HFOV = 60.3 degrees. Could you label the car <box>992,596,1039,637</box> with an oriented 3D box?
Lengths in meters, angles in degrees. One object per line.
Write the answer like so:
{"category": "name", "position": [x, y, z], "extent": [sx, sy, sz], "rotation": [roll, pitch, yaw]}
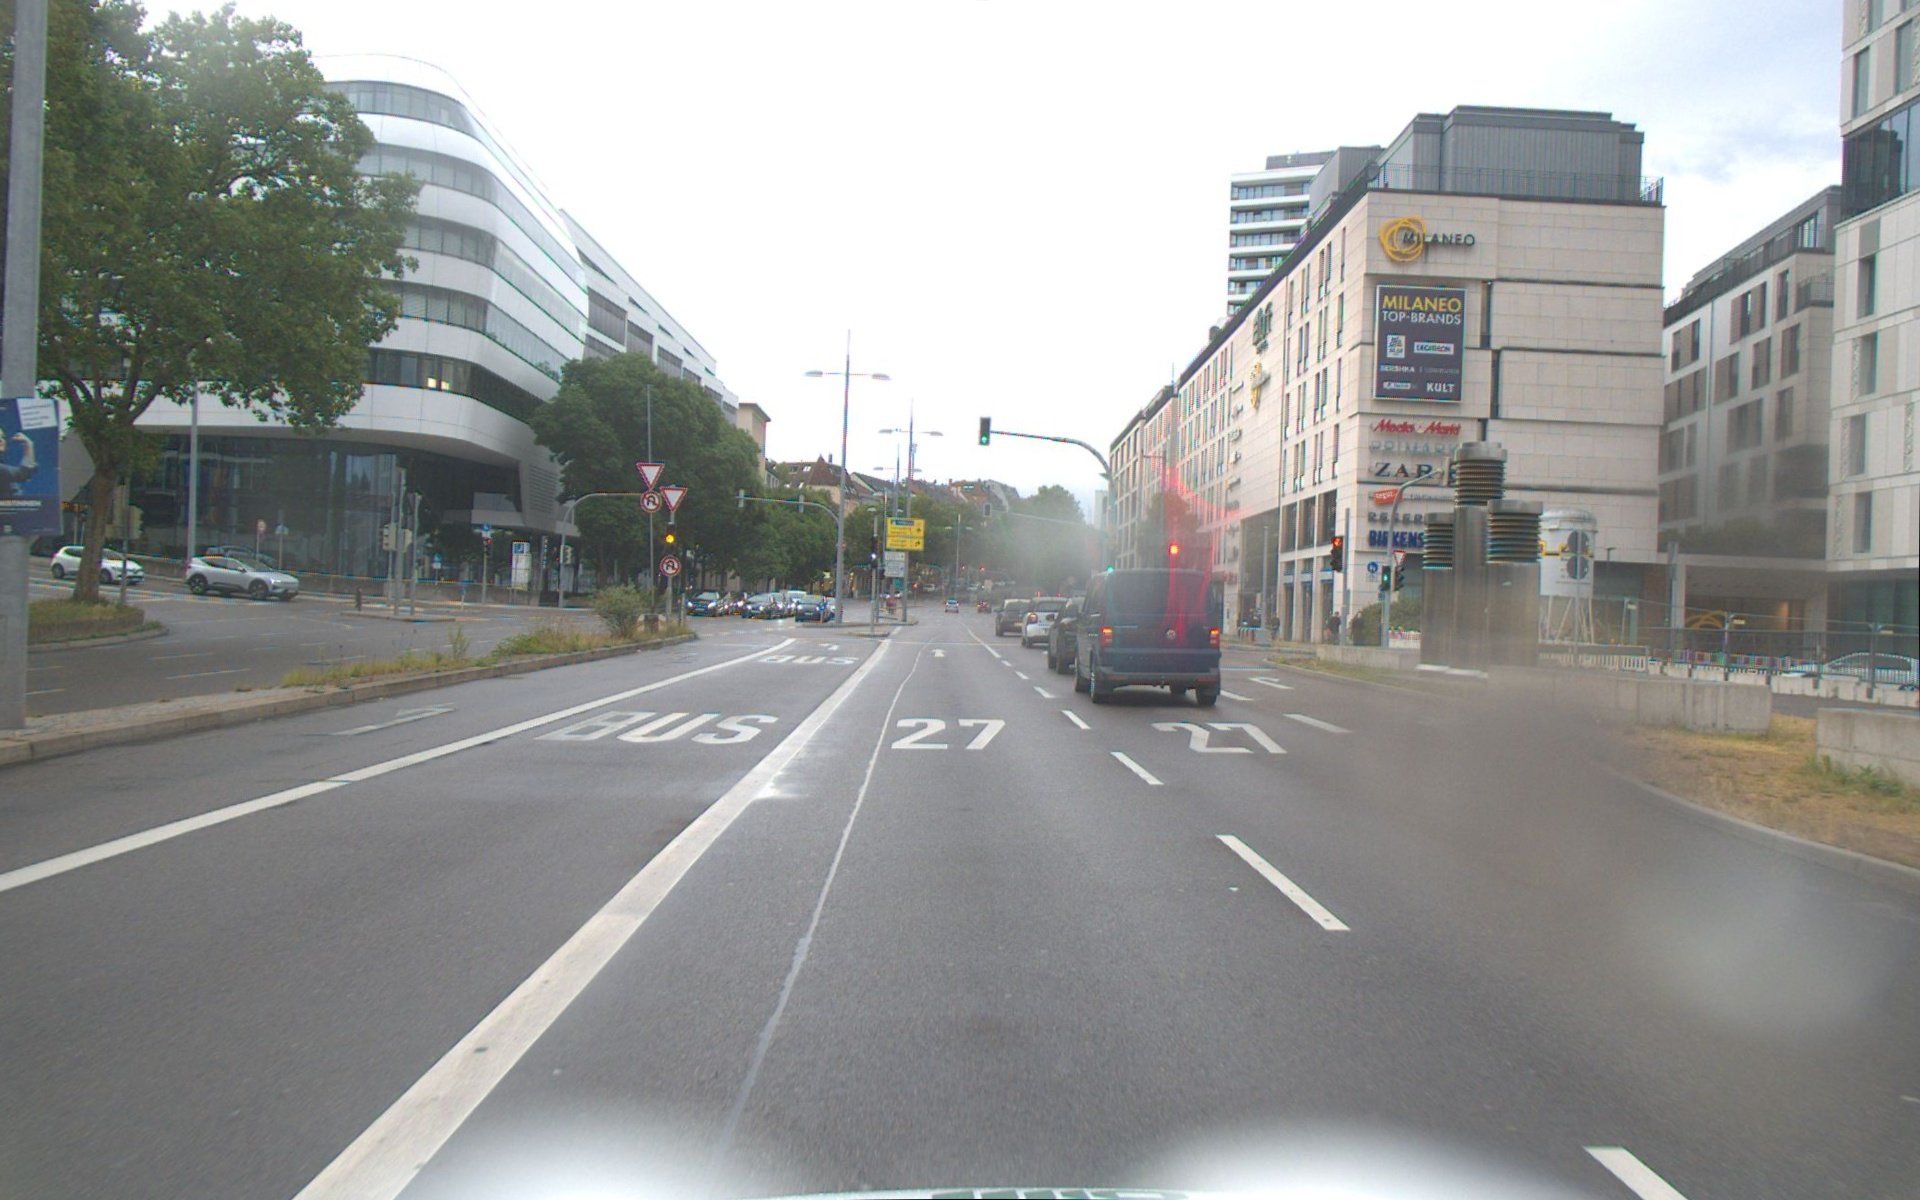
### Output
{"category": "car", "position": [2.218, 0.678, 66.570], "extent": [1.704, 1.558, 3.813], "rotation": [1, -1, 0]}

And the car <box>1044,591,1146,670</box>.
{"category": "car", "position": [2.796, 0.592, 35.104], "extent": [1.754, 1.533, 4.338], "rotation": [1, 0, -1]}

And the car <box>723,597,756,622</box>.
{"category": "car", "position": [-14.637, 0.669, 110.024], "extent": [1.707, 1.586, 3.539], "rotation": [1, -1, 0]}

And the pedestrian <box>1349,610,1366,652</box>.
{"category": "pedestrian", "position": [17.421, 1.353, 72.450], "extent": [0.434, 1.811, 0.590], "rotation": [2, -1, -29]}

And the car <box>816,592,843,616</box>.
{"category": "car", "position": [-8.656, 0.275, 110.116], "extent": [1.507, 1.503, 3.695], "rotation": [1, -1, 0]}

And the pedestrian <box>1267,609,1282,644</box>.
{"category": "pedestrian", "position": [14.834, 1.241, 77.923], "extent": [0.539, 1.639, 0.698], "rotation": [1, -1, 0]}

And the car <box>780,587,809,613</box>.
{"category": "car", "position": [-11.800, 0.005, 118.234], "extent": [1.707, 1.779, 3.539], "rotation": [1, -1, 0]}

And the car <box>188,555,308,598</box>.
{"category": "car", "position": [-29.893, -0.982, 69.464], "extent": [4.406, 1.660, 1.896], "rotation": [1, -1, 16]}

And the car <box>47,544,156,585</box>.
{"category": "car", "position": [-37.354, -1.529, 71.997], "extent": [3.902, 1.660, 1.896], "rotation": [1, -1, 16]}

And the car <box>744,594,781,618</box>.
{"category": "car", "position": [-11.627, 0.336, 97.399], "extent": [1.708, 1.279, 3.539], "rotation": [2, 0, 0]}

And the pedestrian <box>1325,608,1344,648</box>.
{"category": "pedestrian", "position": [16.277, 1.211, 71.883], "extent": [0.608, 1.701, 0.824], "rotation": [1, -1, -1]}

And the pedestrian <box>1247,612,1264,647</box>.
{"category": "pedestrian", "position": [13.920, 1.380, 77.951], "extent": [0.600, 1.639, 0.818], "rotation": [1, -1, 0]}

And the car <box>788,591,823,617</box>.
{"category": "car", "position": [-8.966, 0.245, 96.179], "extent": [1.707, 1.470, 3.394], "rotation": [1, -1, 0]}

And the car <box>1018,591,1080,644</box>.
{"category": "car", "position": [2.751, 0.567, 51.771], "extent": [1.689, 1.558, 3.813], "rotation": [1, -1, 0]}

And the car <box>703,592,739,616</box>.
{"category": "car", "position": [-15.069, 0.275, 104.483], "extent": [1.707, 1.448, 3.539], "rotation": [1, -1, 0]}

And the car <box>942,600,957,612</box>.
{"category": "car", "position": [-1.415, 0.815, 222.978], "extent": [1.706, 1.558, 3.809], "rotation": [1, 0, -6]}

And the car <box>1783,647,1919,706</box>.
{"category": "car", "position": [26.724, 2.259, 49.219], "extent": [3.911, 1.458, 1.741], "rotation": [3, 0, 28]}

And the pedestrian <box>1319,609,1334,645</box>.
{"category": "pedestrian", "position": [17.295, 1.277, 78.022], "extent": [0.582, 1.671, 0.587], "rotation": [0, -1, 24]}

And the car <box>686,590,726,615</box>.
{"category": "car", "position": [-14.692, 0.155, 95.870], "extent": [1.707, 1.352, 4.225], "rotation": [1, -1, 0]}

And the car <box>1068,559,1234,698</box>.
{"category": "car", "position": [2.876, 0.377, 25.974], "extent": [1.991, 1.915, 5.042], "rotation": [-1, 1, 0]}

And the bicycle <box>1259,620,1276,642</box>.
{"category": "bicycle", "position": [14.498, 1.459, 77.949], "extent": [0.440, 1.034, 1.742], "rotation": [1, -1, 0]}

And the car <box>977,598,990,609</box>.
{"category": "car", "position": [3.378, 0.501, 235.558], "extent": [1.704, 1.558, 3.813], "rotation": [1, -1, 0]}
